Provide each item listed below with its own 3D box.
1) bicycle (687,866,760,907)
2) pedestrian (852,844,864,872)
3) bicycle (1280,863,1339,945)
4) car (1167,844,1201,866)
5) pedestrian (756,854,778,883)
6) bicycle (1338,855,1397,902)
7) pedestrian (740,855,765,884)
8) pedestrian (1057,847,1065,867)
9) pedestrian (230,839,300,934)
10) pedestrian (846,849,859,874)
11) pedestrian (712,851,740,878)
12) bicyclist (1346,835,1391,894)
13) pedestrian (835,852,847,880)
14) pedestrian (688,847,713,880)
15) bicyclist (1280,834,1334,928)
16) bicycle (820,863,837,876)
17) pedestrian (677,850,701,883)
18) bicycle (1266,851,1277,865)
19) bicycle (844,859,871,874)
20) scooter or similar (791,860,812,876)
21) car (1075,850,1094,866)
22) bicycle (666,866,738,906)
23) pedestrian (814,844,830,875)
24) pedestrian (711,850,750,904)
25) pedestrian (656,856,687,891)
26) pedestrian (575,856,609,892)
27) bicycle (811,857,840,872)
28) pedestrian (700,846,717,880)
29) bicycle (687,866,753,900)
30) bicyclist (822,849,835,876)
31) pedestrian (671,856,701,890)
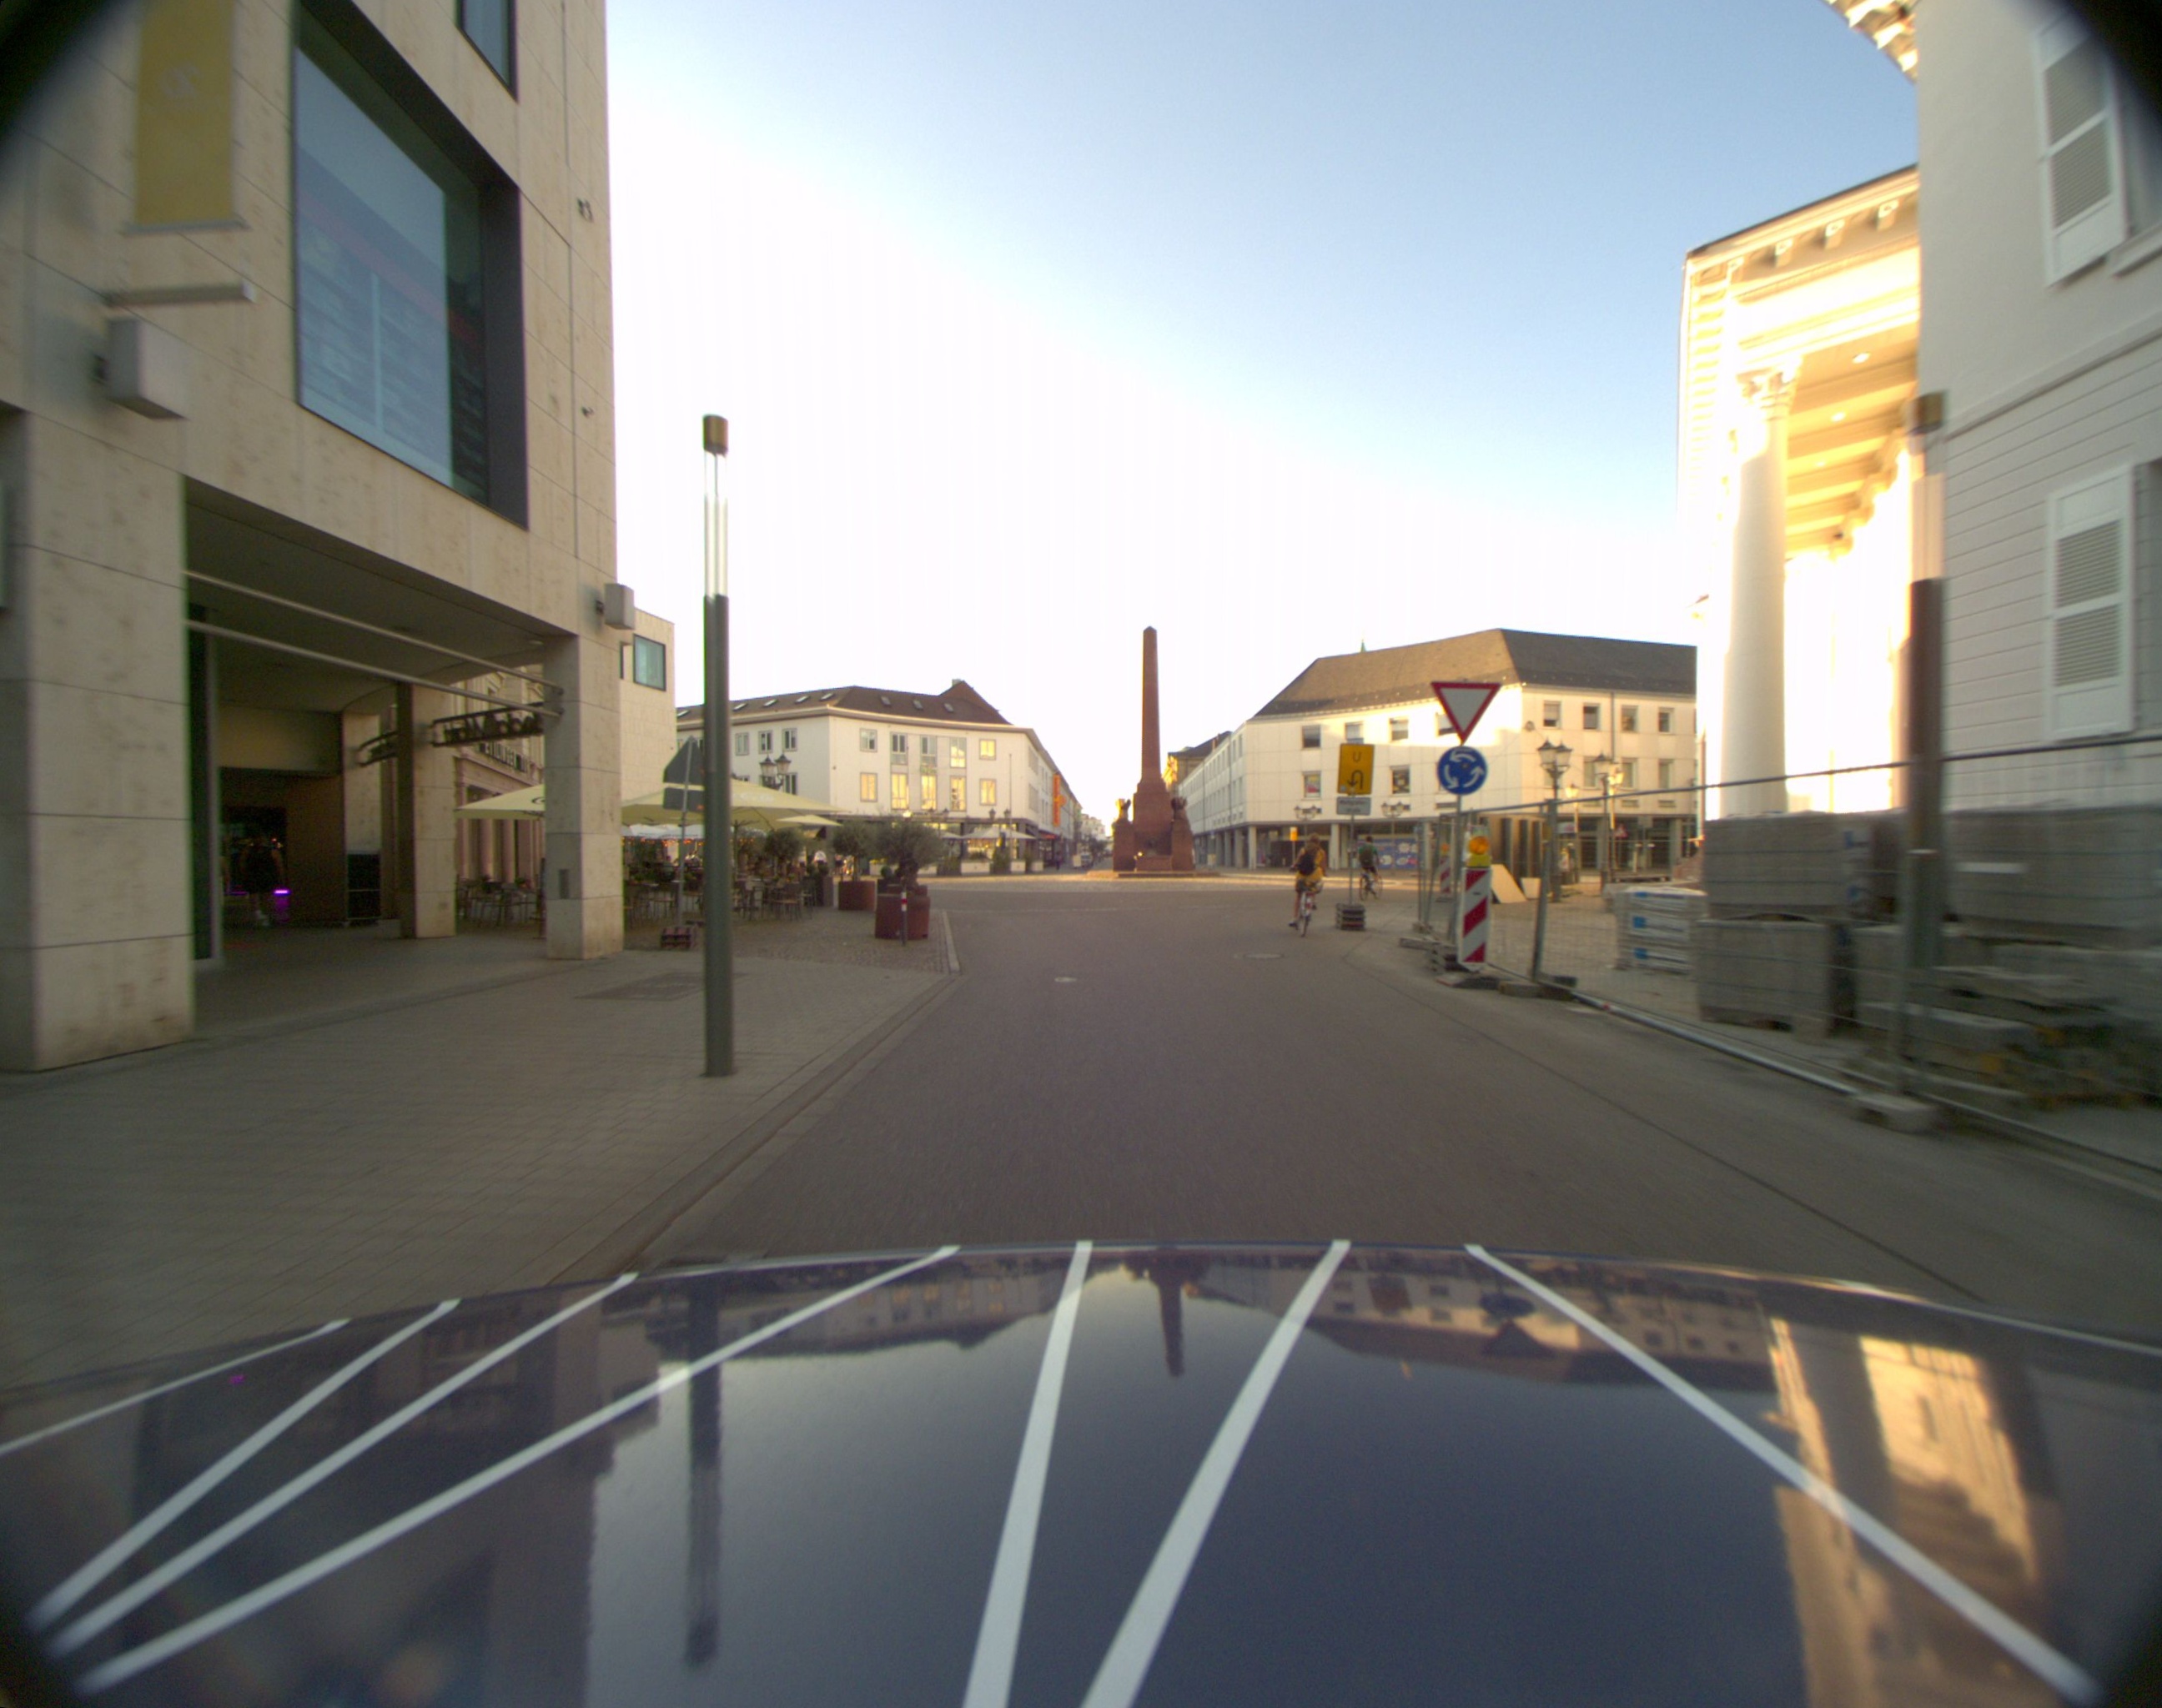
[{"bbox_3d":[-10.280,0.916,21.921,0.606,1.121,1.910,0,-1,27],"label":"bicycle"},{"bbox_3d":[-14.870,0.256,50.646,0.508,1.808,0.719,-1,1,4],"label":"pedestrian"},{"bbox_3d":[3.818,0.787,12.848,0.797,1.210,2.235,-1,1,13],"label":"bicycle"},{"bbox_3d":[8.893,0.095,65.791,2.021,1.815,4.458,-1,1,-4],"label":"car"},{"bbox_3d":[-16.307,0.752,39.444,0.721,1.439,0.694,0,1,26],"label":"pedestrian"},{"bbox_3d":[8.106,0.660,21.411,0.796,1.210,2.238,0,1,42],"label":"bicycle"},{"bbox_3d":[-16.715,0.762,38.638,0.721,1.439,0.867,0,1,26],"label":"pedestrian"},{"bbox_3d":[-1.663,0.265,63.254,0.603,1.691,0.713,-1,1,-3],"label":"pedestrian"},{"bbox_3d":[-15.407,0.598,14.351,0.716,1.735,0.670,0,1,25],"label":"pedestrian"},{"bbox_3d":[-15.474,0.529,51.460,0.619,1.667,0.734,-1,1,4],"label":"pedestrian"},{"bbox_3d":[-19.068,0.555,40.793,0.969,1.439,0.947,-1,1,18],"label":"pedestrian"},{"bbox_3d":[8.100,0.287,21.397,0.796,1.593,1.233,0,1,42],"label":"bicyclist"},{"bbox_3d":[-16.335,0.791,51.722,0.580,1.912,0.543,-1,1,4],"label":"pedestrian"},{"bbox_3d":[-20.554,0.505,41.093,0.727,1.792,0.982,-1,1,9],"label":"pedestrian"},{"bbox_3d":[3.796,0.433,12.813,0.797,1.523,0.975,-1,1,13],"label":"bicyclist"},{"bbox_3d":[-16.501,1.002,49.678,0.482,0.843,1.484,-1,1,4],"label":"bicycle"},{"bbox_3d":[-21.225,0.677,41.155,0.728,1.792,0.851,-1,1,10],"label":"pedestrian"},{"bbox_3d":[15.888,0.358,63.545,0.480,1.149,1.949,-1,1,2],"label":"bicycle"},{"bbox_3d":[-14.907,0.811,50.710,0.473,0.928,1.680,0,1,39],"label":"bicycle"},{"bbox_3d":[-18.161,0.900,49.302,0.486,1.005,1.207,0,1,33],"label":"scooter or similar"},{"bbox_3d":[0.383,0.367,73.906,1.781,1.416,3.961,-1,0,2],"label":"car"},{"bbox_3d":[-11.173,0.938,22.483,0.606,1.121,1.910,0,-1,27],"label":"bicycle"},{"bbox_3d":[-16.427,0.337,48.225,0.644,1.917,0.629,0,1,26],"label":"pedestrian"},{"bbox_3d":[-10.544,0.676,22.854,0.748,1.579,0.715,-1,1,20],"label":"pedestrian"},{"bbox_3d":[-17.313,0.812,32.158,0.721,1.439,0.867,0,1,26],"label":"pedestrian"},{"bbox_3d":[-20.458,0.833,31.787,0.773,1.439,0.854,-1,1,18],"label":"pedestrian"},{"bbox_3d":[-16.224,0.674,48.278,0.473,0.928,1.680,0,1,39],"label":"bicycle"},{"bbox_3d":[-19.568,0.476,39.962,0.717,1.737,0.709,-1,1,-21],"label":"pedestrian"},{"bbox_3d":[-12.016,0.955,25.341,0.605,1.121,1.910,0,-1,38],"label":"bicycle"},{"bbox_3d":[-16.486,0.547,49.658,0.482,1.733,0.835,-1,1,4],"label":"bicyclist"},{"bbox_3d":[-17.213,0.829,33.144,0.721,1.439,0.867,0,1,26],"label":"pedestrian"}]
